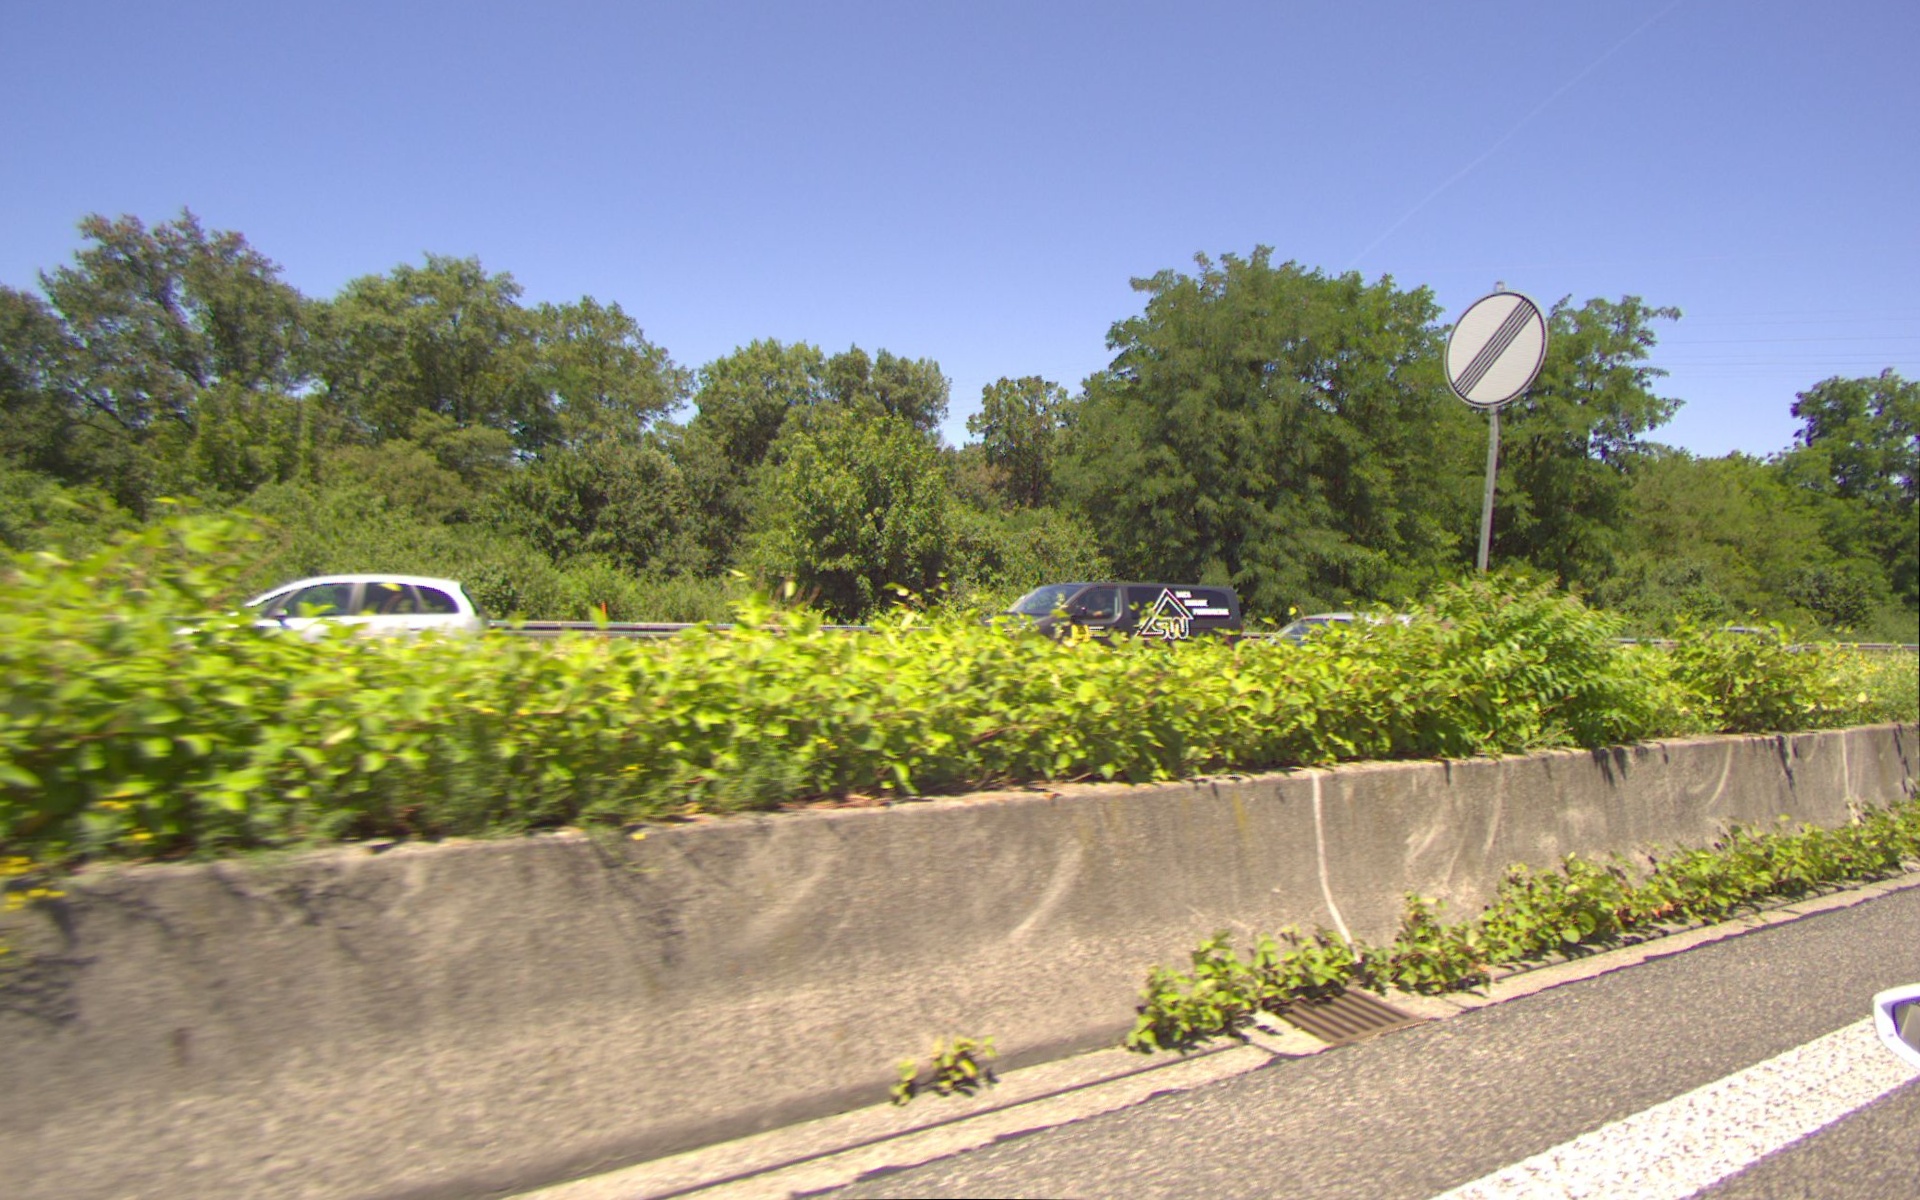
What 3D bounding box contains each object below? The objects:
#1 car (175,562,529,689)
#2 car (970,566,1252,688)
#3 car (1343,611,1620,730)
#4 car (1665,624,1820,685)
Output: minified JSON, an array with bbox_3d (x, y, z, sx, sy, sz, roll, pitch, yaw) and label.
[{"bbox_3d":[-8.371,0.365,14.166,4.034,1.575,1.563,2,-1,-30],"label":"car"},{"bbox_3d":[2.688,0.478,17.437,4.830,1.868,1.689,2,0,-30],"label":"car"},{"bbox_3d":[7.314,0.916,13.989,3.956,1.416,1.640,2,0,-32],"label":"car"},{"bbox_3d":[21.336,1.473,27.360,4.663,1.494,1.689,2,0,-30],"label":"car"}]
